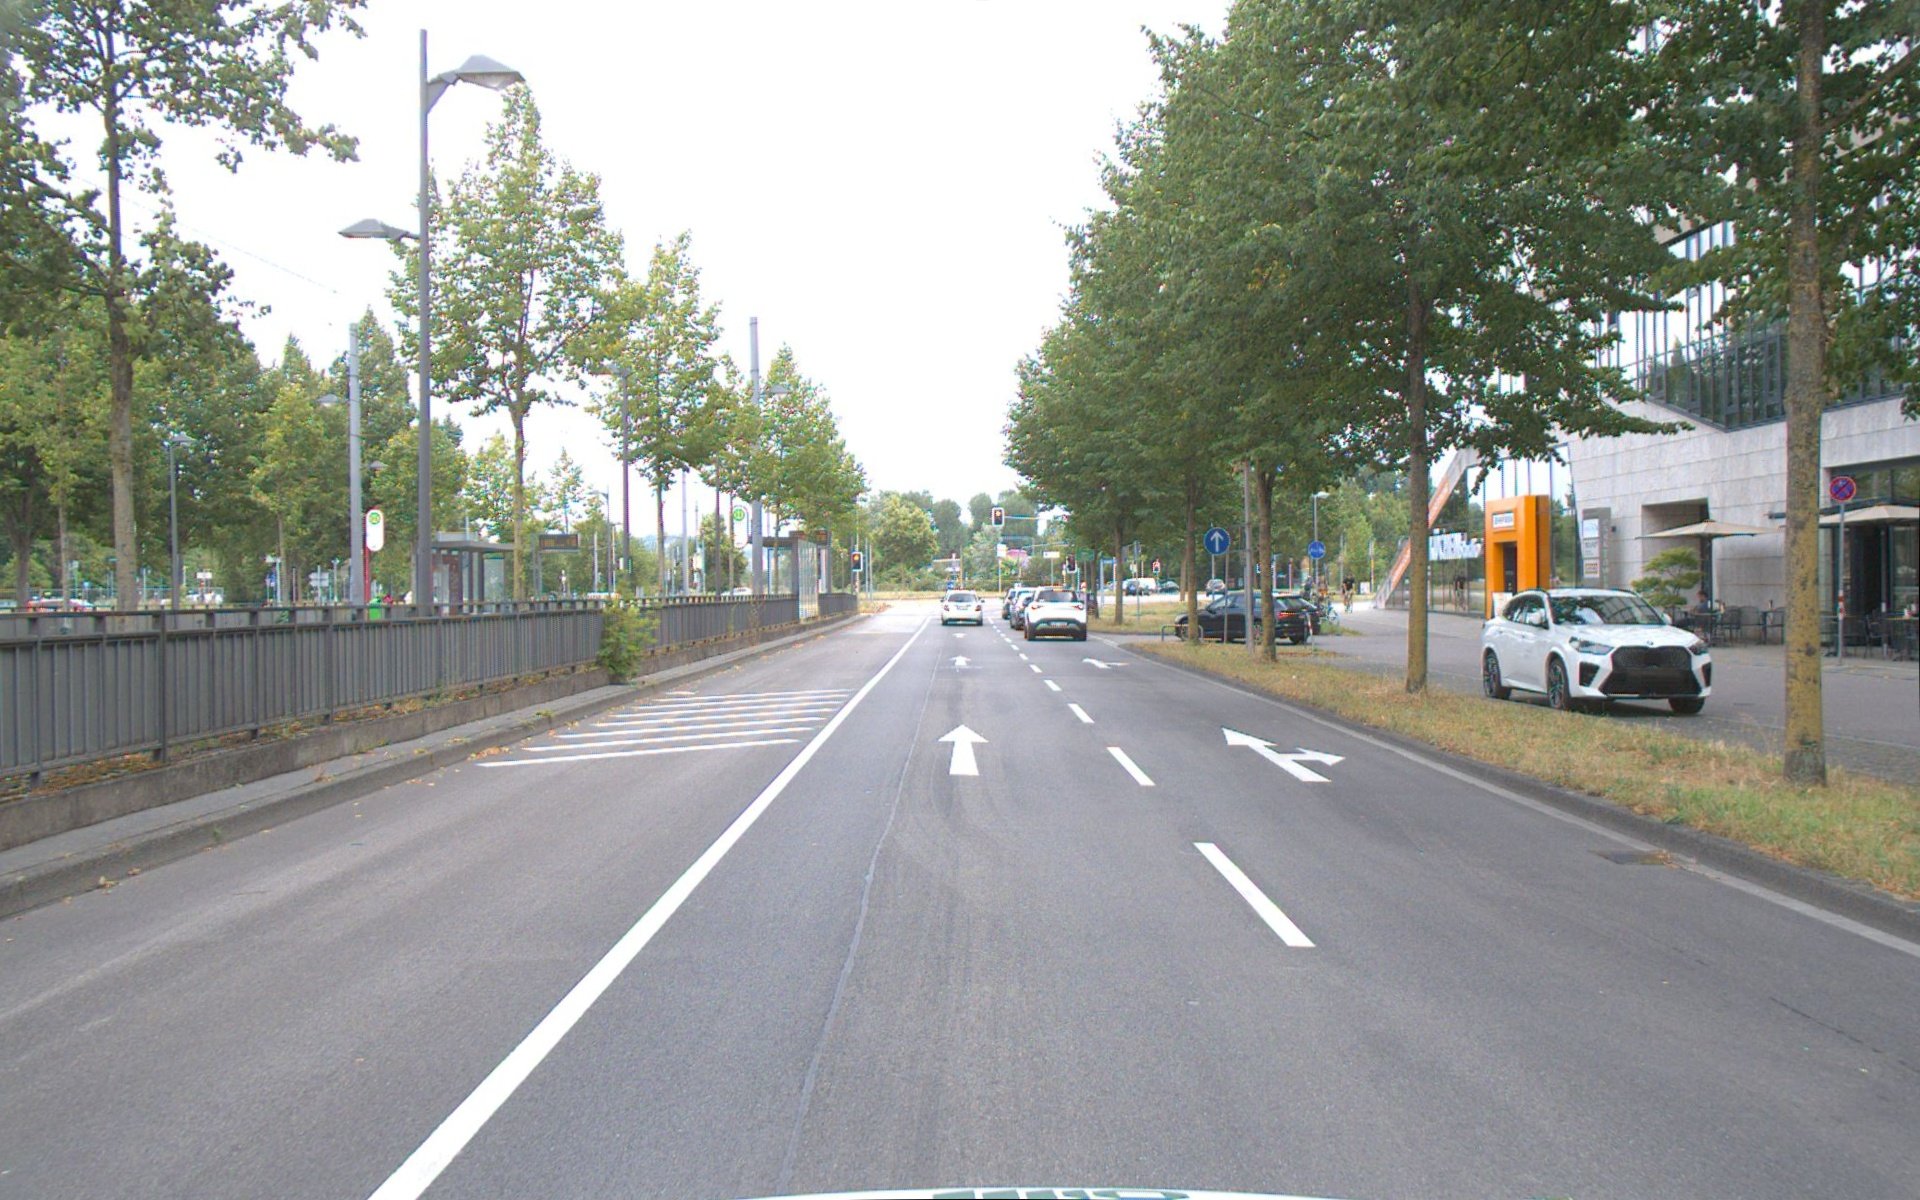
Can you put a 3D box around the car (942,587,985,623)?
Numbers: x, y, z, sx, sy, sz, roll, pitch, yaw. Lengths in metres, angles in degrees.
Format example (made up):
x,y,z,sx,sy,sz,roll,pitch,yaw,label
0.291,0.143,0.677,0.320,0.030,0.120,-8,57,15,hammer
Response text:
x,y,z,sx,sy,sz,roll,pitch,yaw,label
0.126,0.192,70.884,1.738,1.474,3.909,0,0,-2,car

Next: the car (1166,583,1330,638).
x,y,z,sx,sy,sz,roll,pitch,yaw,label
8.330,0.312,48.300,1.925,1.501,4.811,-1,0,-35,car

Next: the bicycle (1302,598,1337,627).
x,y,z,sx,sy,sz,roll,pitch,yaw,label
12.419,0.414,57.187,0.617,0.972,2.106,-1,0,-4,bicycle

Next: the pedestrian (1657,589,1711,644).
x,y,z,sx,sy,sz,roll,pitch,yaw,label
16.938,0.383,38.718,0.879,1.250,0.951,-1,0,5,pedestrian

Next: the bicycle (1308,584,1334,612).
x,y,z,sx,sy,sz,roll,pitch,yaw,label
15.653,-0.094,71.783,0.659,1.163,2.007,-1,0,0,bicycle

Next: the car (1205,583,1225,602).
x,y,z,sx,sy,sz,roll,pitch,yaw,label
23.127,-0.702,149.921,1.745,1.664,4.406,-1,0,10,car

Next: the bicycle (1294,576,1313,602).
x,y,z,sx,sy,sz,roll,pitch,yaw,label
20.600,-0.638,99.226,0.691,1.532,2.007,0,0,-2,bicycle

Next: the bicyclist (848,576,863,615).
x,y,z,sx,sy,sz,roll,pitch,yaw,label
-5.420,-0.250,85.710,0.714,1.915,0.735,-1,11,-3,bicyclist

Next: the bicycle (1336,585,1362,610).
x,y,z,sx,sy,sz,roll,pitch,yaw,label
16.885,-0.100,71.806,0.659,1.060,2.007,-1,0,0,bicycle

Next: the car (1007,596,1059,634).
x,y,z,sx,sy,sz,roll,pitch,yaw,label
2.897,0.582,66.152,1.751,1.457,4.309,0,0,-2,car

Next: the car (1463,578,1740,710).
x,y,z,sx,sy,sz,roll,pitch,yaw,label
8.480,0.518,22.354,1.898,1.579,4.593,-1,0,-1,car

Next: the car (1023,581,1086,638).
x,y,z,sx,sy,sz,roll,pitch,yaw,label
2.903,0.290,51.629,1.742,1.685,4.023,-1,0,0,car

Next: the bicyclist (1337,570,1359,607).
x,y,z,sx,sy,sz,roll,pitch,yaw,label
16.868,-0.489,71.973,0.709,1.610,0.990,0,0,0,bicyclist

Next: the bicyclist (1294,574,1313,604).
x,y,z,sx,sy,sz,roll,pitch,yaw,label
20.598,-0.656,99.224,0.849,1.820,1.174,-1,0,-1,bicyclist

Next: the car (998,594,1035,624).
x,y,z,sx,sy,sz,roll,pitch,yaw,label
2.794,0.425,82.052,1.592,1.474,3.909,0,0,-2,car

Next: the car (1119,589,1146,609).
x,y,z,sx,sy,sz,roll,pitch,yaw,label
16.164,-0.119,155.041,1.954,1.822,3.997,1,0,-3,car

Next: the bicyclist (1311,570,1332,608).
x,y,z,sx,sy,sz,roll,pitch,yaw,label
15.650,-0.476,71.627,0.710,1.610,0.990,-1,0,-1,bicyclist
